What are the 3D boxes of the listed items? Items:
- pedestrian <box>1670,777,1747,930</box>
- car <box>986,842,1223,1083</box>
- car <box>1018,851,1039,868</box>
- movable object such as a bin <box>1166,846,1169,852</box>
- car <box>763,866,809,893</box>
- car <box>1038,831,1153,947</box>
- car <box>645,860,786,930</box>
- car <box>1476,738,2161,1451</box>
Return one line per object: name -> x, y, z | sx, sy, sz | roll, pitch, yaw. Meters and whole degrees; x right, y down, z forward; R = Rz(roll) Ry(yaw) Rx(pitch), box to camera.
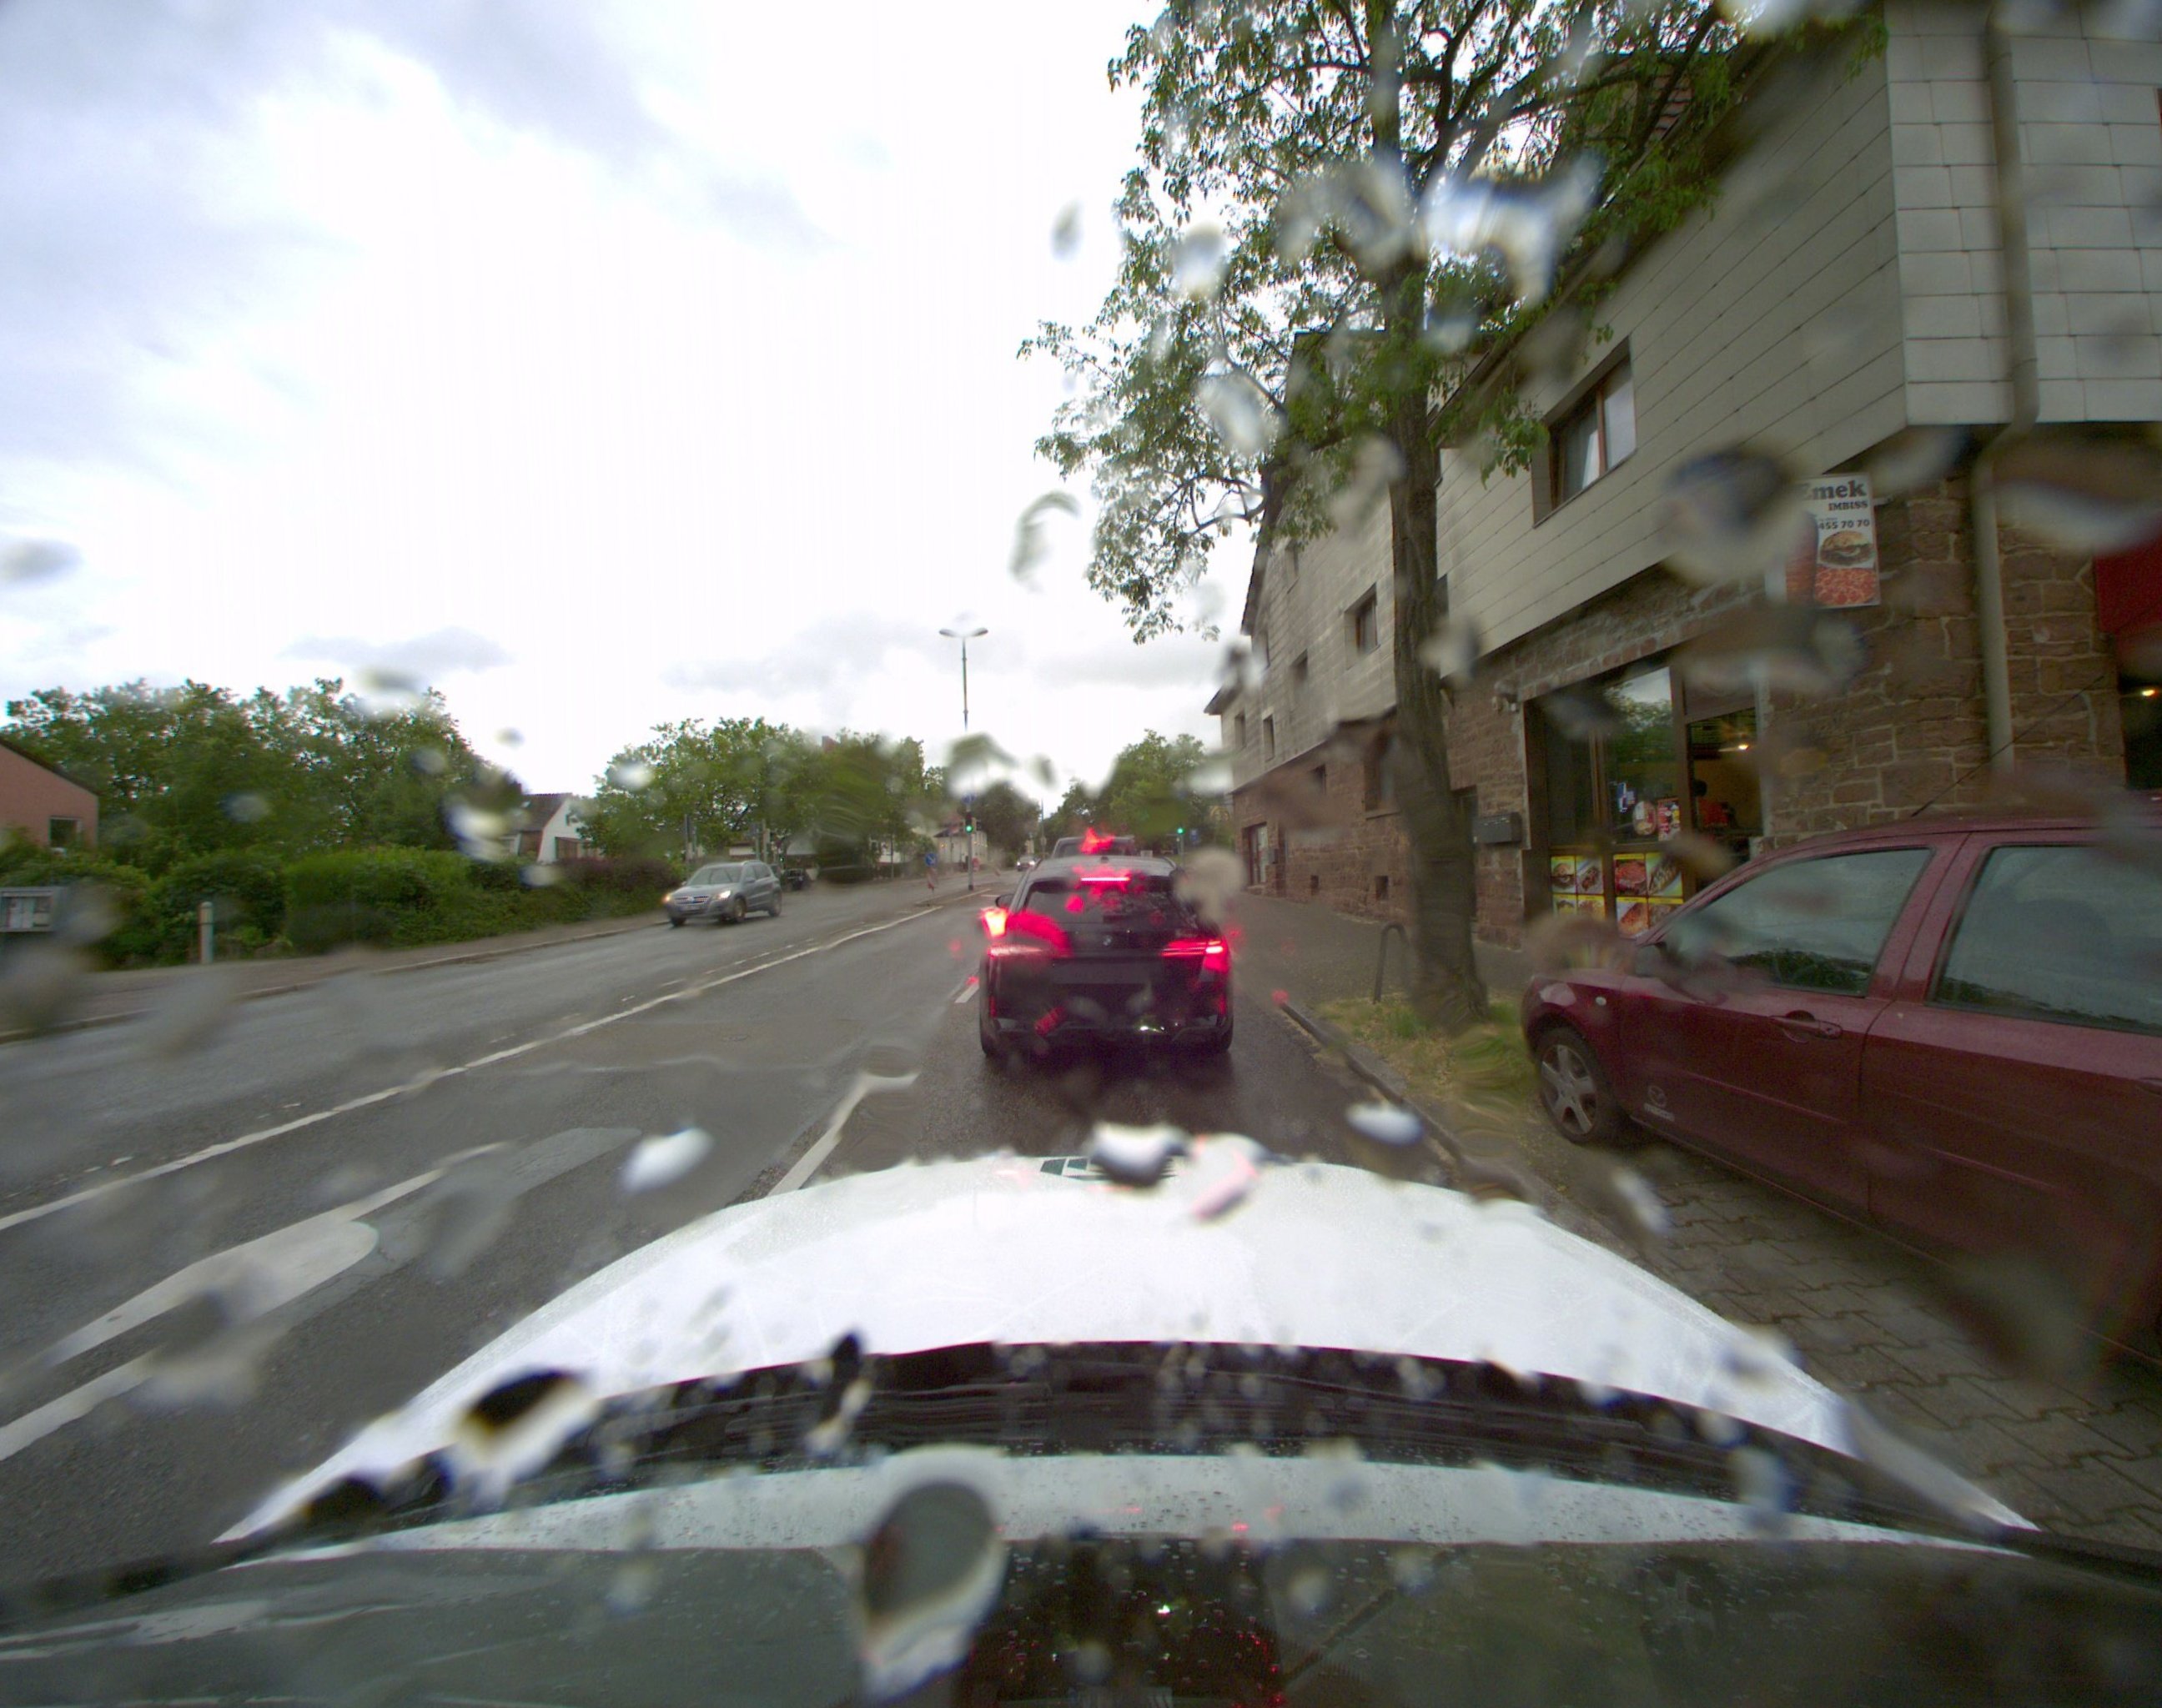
pedestrian -> 7.003, -0.008, 9.101 | 0.490, 1.660, 0.455 | 0, -1, 1
car -> 0.121, 0.710, 7.015 | 1.519, 1.534, 3.530 | 0, -1, -1
car -> -5.320, 0.500, 82.552 | 1.893, 1.577, 4.500 | -2, 1, -1
movable object such as a bin -> 12.235, -0.706, 115.208 | 0.446, 0.906, 0.465 | -1, -1, 17
car -> -20.978, 1.760, 58.148 | 1.803, 1.551, 4.001 | 0, 3, 0
car -> 0.196, 0.564, 14.676 | 1.807, 1.809, 3.754 | 0, -1, -1
car -> -9.797, 1.022, 22.256 | 1.903, 1.590, 4.315 | -3, 0, -1
car -> 3.062, 0.536, 2.697 | 1.606, 1.504, 3.754 | 0, -2, -1
